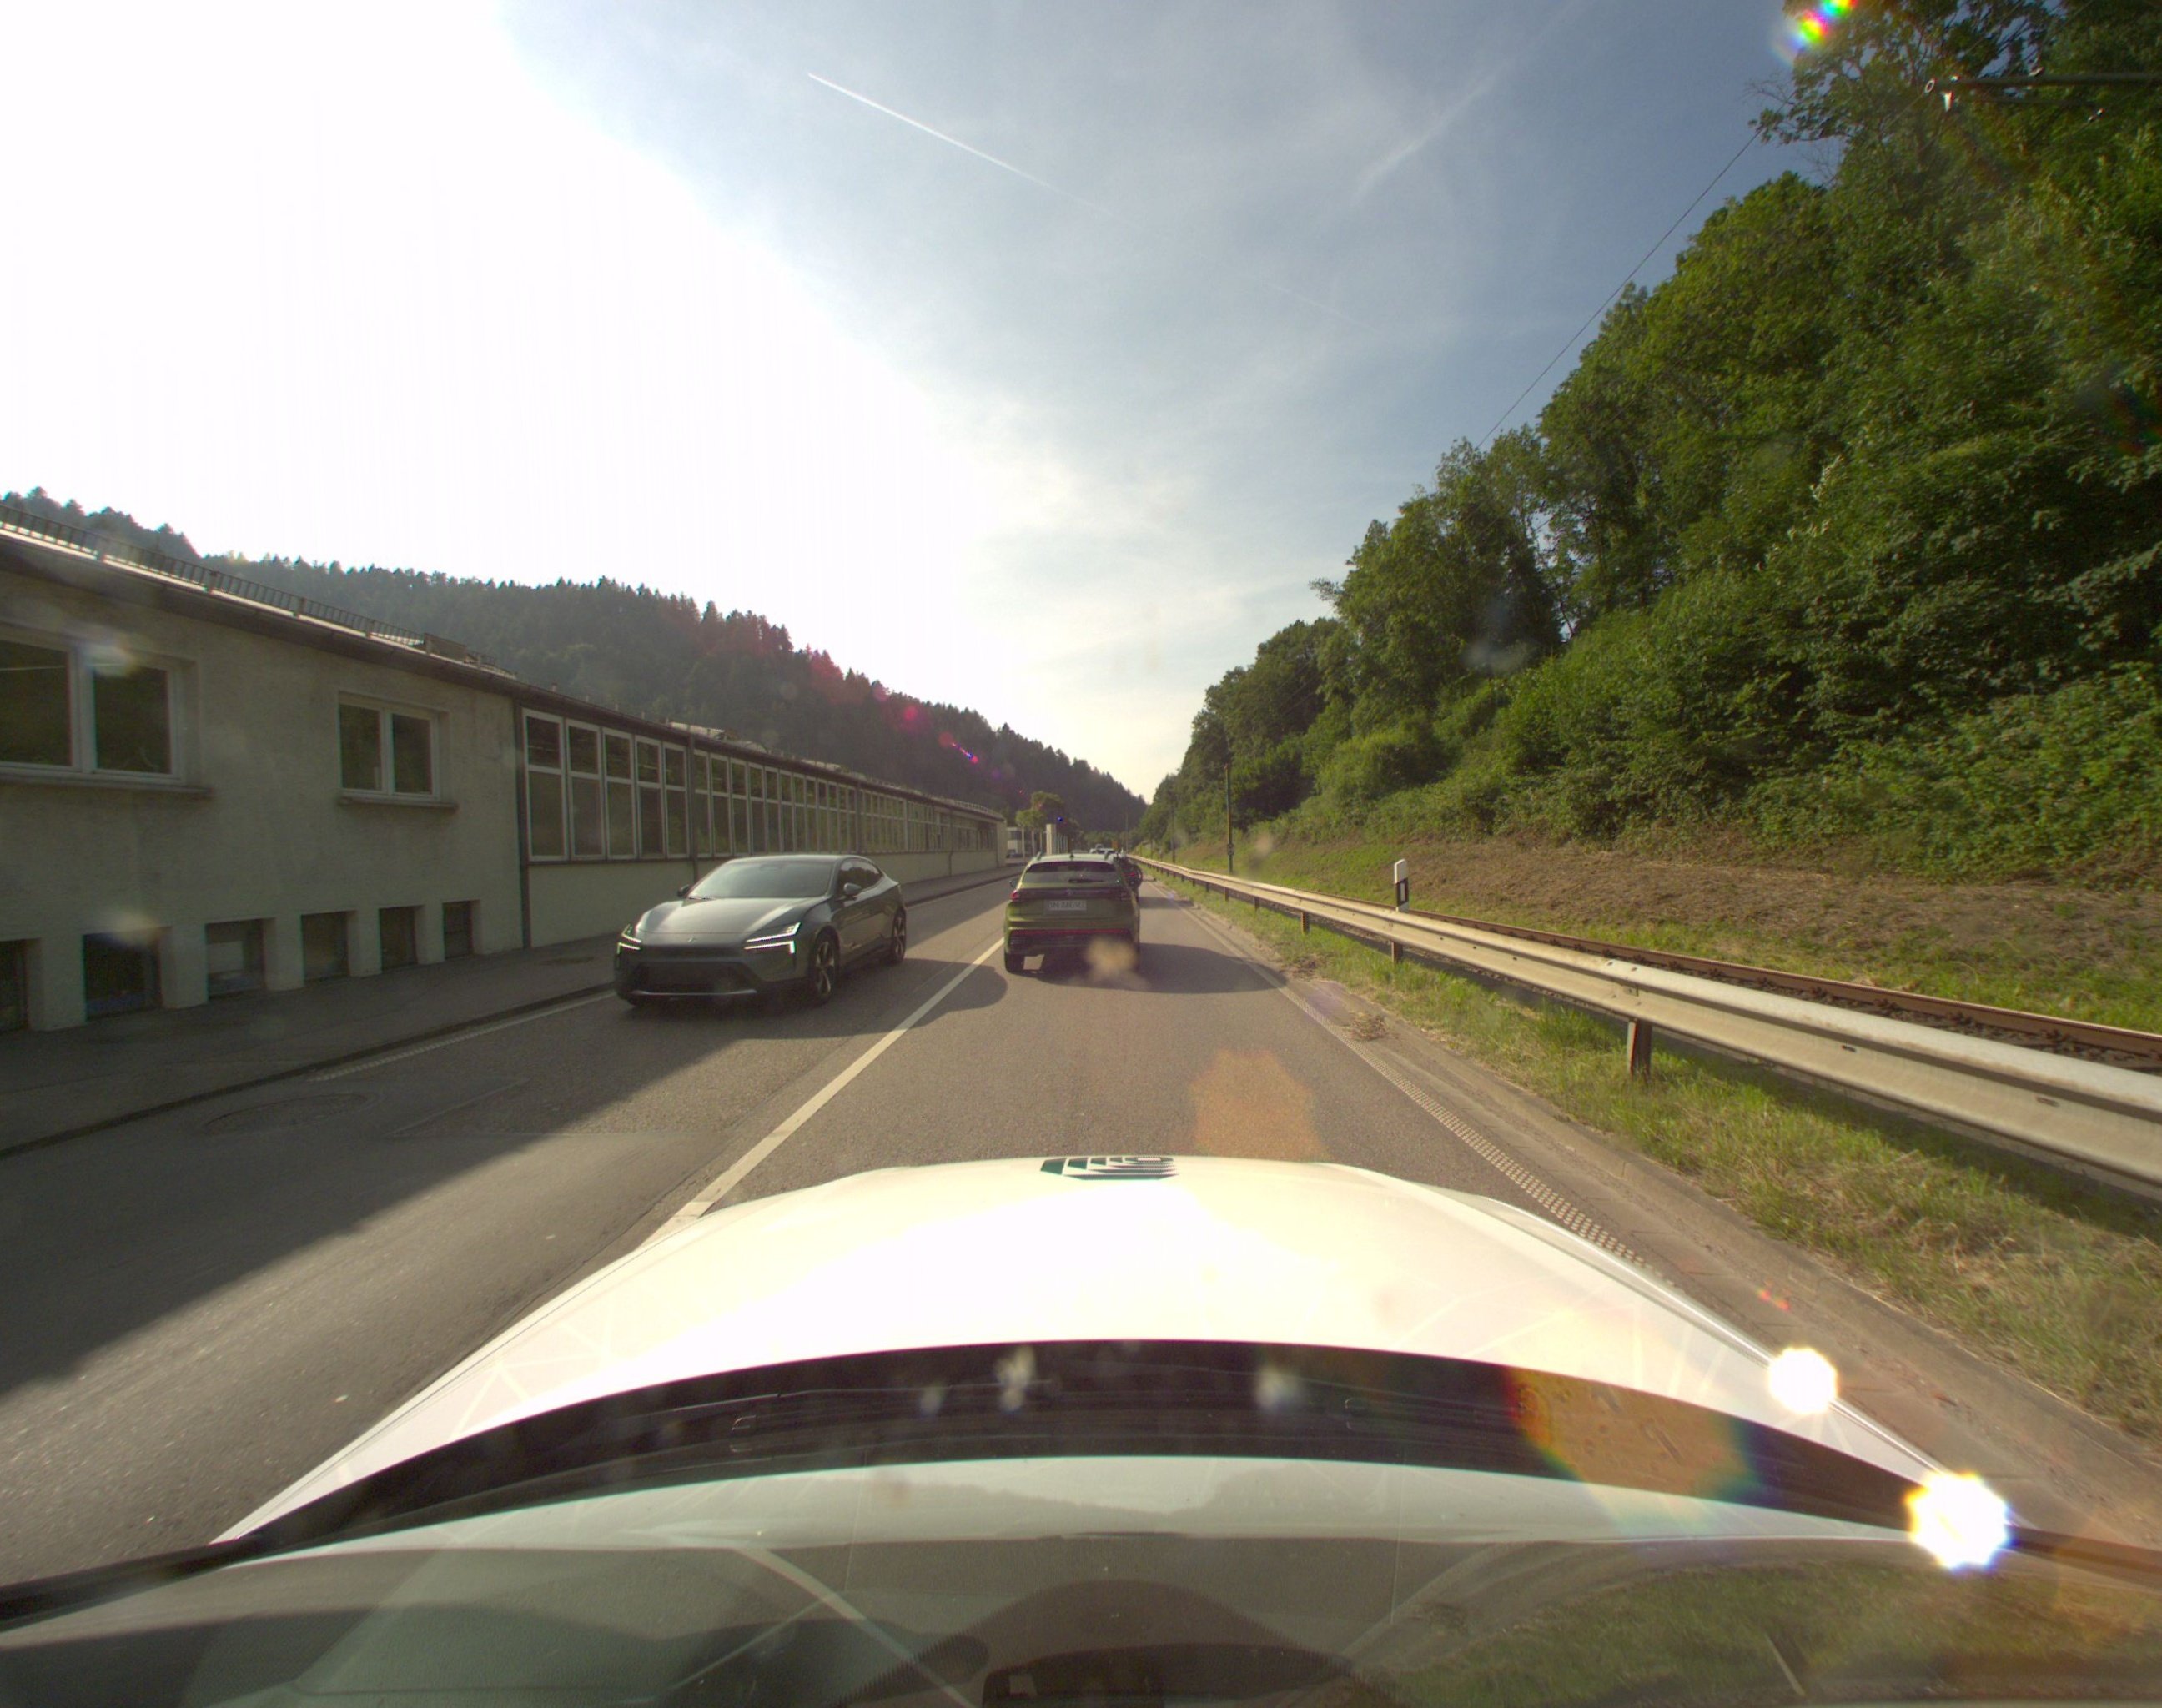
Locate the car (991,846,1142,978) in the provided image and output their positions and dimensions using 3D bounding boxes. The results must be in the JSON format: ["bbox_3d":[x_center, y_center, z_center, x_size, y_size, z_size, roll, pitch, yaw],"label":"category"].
[{"bbox_3d":[-0.138,0.672,11.516,1.733,1.508,4.000,-1,0,1],"label":"car"}]

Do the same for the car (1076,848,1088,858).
[{"bbox_3d":[0.158,-0.190,120.427,1.767,1.490,4.053,0,0,1],"label":"car"}]

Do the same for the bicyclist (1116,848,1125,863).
[{"bbox_3d":[3.813,0.126,78.023,0.779,1.412,0.675,-1,0,-1],"label":"bicyclist"}]

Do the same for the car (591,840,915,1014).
[{"bbox_3d":[-3.471,0.663,9.708,1.922,1.581,4.460,0,0,2],"label":"car"}]

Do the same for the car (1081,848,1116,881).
[{"bbox_3d":[0.908,0.519,42.425,1.733,1.602,4.000,-1,0,1],"label":"car"}]

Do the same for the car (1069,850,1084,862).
[{"bbox_3d":[-0.570,0.249,101.573,1.713,1.514,4.200,0,0,1],"label":"car"}]

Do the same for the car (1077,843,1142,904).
[{"bbox_3d":[0.807,0.520,23.904,1.733,1.602,4.000,-1,0,1],"label":"car"}]

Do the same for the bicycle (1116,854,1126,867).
[{"bbox_3d":[3.829,0.591,78.192,0.809,1.250,2.122,-1,0,0],"label":"bicycle"}]
